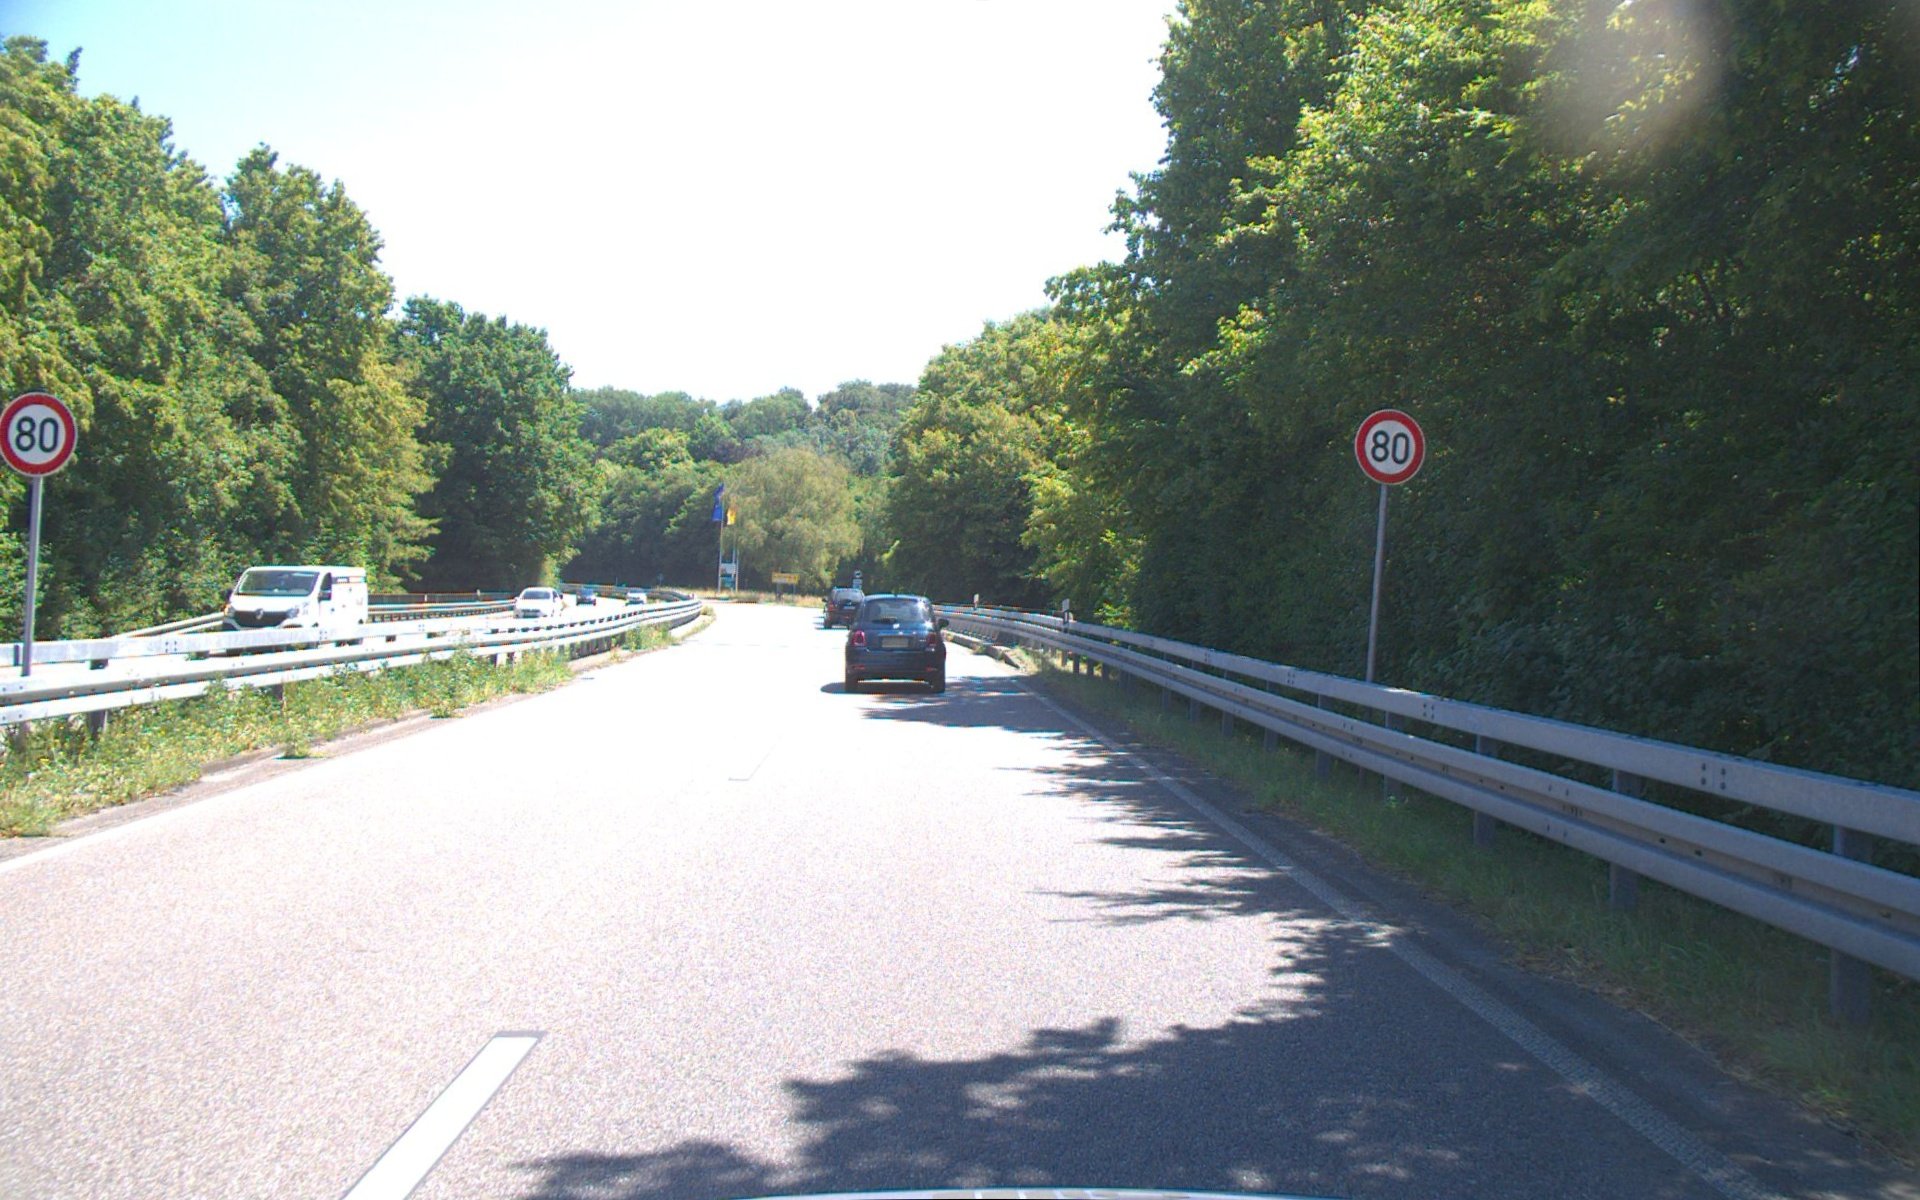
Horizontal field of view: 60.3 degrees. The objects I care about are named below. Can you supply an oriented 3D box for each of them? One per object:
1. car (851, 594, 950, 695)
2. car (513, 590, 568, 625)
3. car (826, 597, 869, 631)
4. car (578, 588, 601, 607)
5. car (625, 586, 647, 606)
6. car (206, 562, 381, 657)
[{"bbox_3d":[-0.937,0.666,26.823,1.483,1.527,3.589,1,0,-1],"label":"car"},{"bbox_3d":[-18.238,0.296,72.081,1.618,1.472,4.216,1,0,-4],"label":"car"},{"bbox_3d":[-4.735,0.565,69.093,1.497,1.336,3.408,1,0,-9],"label":"car"},{"bbox_3d":[-32.280,-0.228,144.129,1.620,1.555,3.991,1,0,-8],"label":"car"},{"bbox_3d":[-27.673,-0.344,141.380,1.620,1.634,4.212,1,0,-8],"label":"car"},{"bbox_3d":[-15.045,0.196,37.720,1.949,1.985,5.637,1,0,-3],"label":"car"}]
